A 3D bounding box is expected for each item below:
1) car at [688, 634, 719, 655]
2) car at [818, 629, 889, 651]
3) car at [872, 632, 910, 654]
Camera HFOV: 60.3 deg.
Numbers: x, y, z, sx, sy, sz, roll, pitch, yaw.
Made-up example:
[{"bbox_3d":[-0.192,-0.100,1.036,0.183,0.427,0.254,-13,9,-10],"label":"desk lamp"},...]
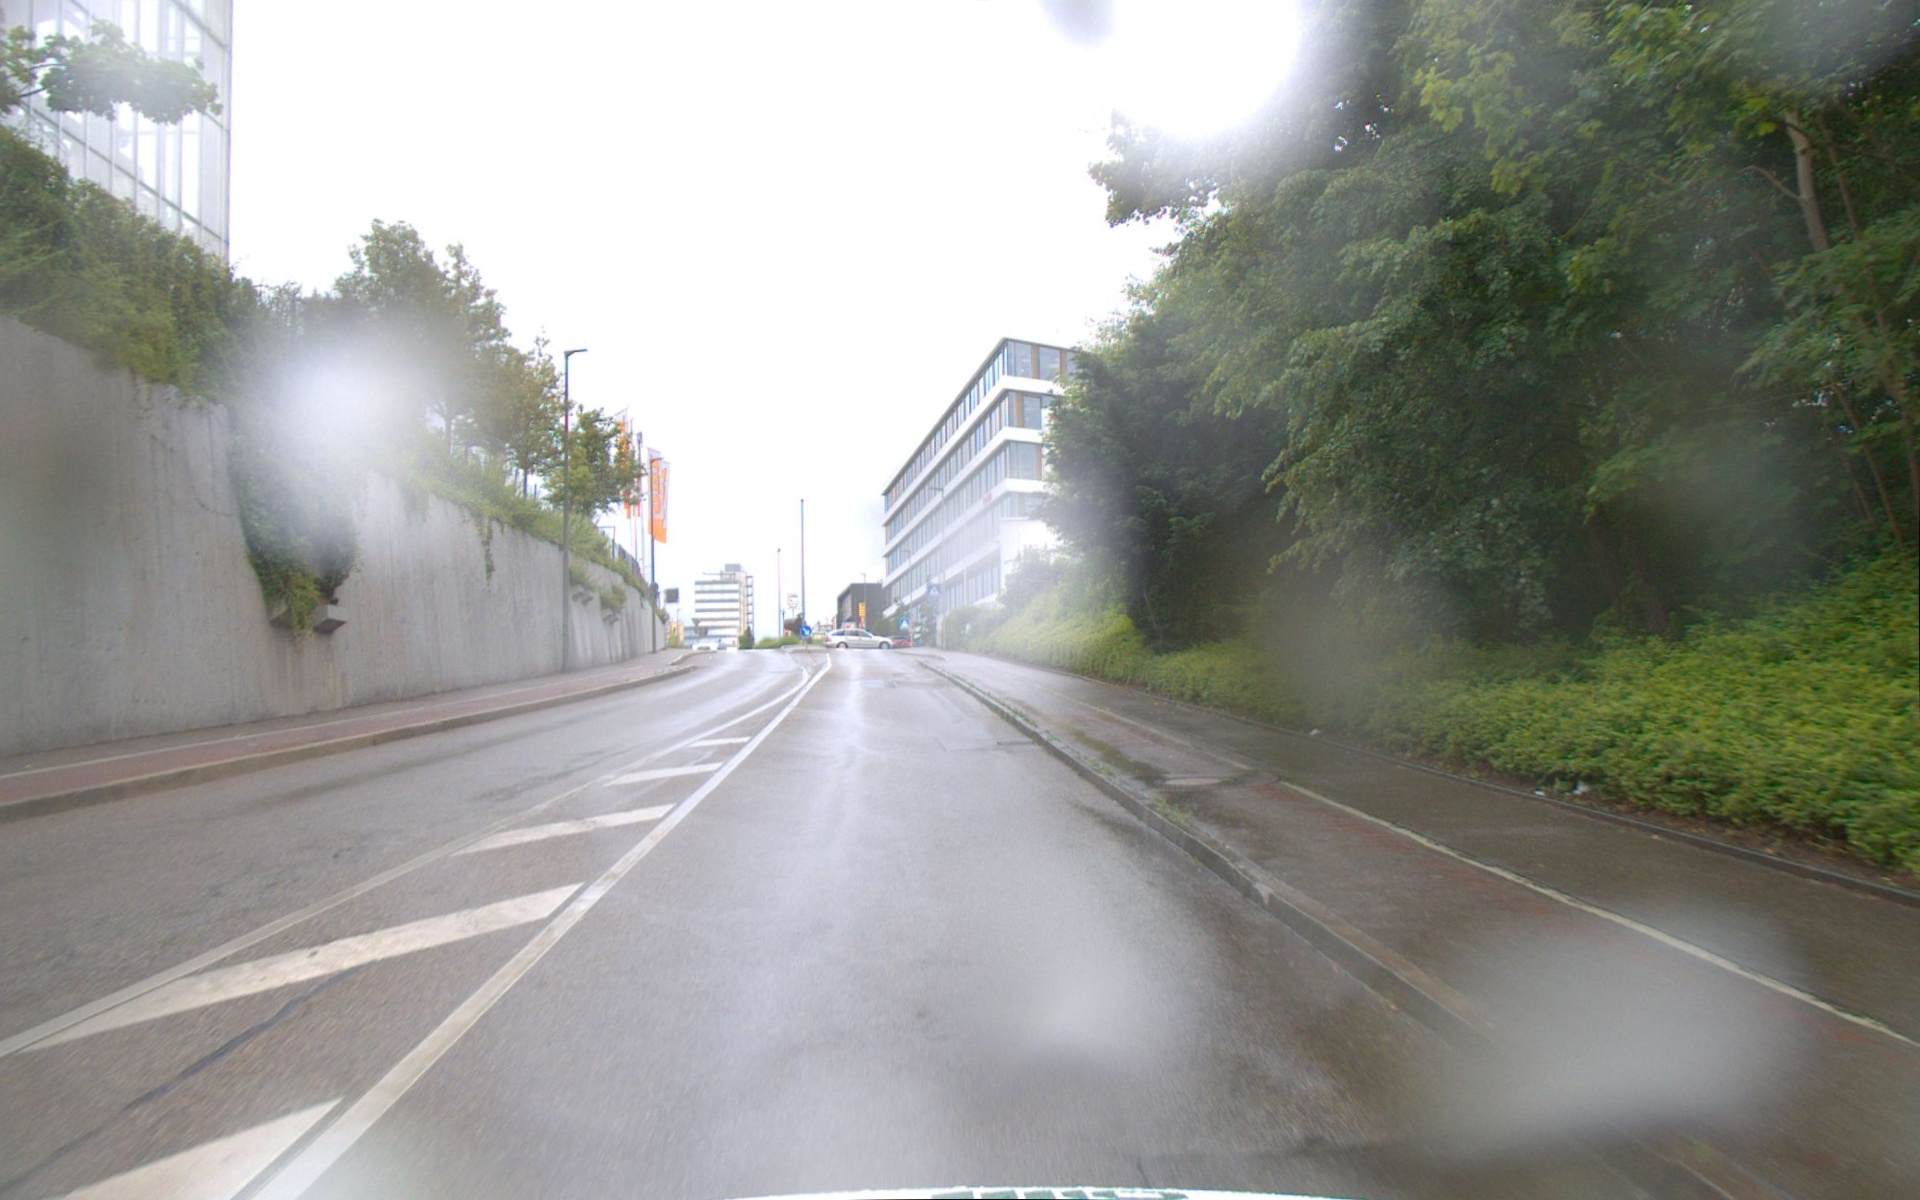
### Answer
[{"bbox_3d":[-17.774,3.085,114.699,1.963,1.451,4.773,1,-1,-7],"label":"car"},{"bbox_3d":[-6.636,2.489,102.881,4.162,1.386,1.640,1,-1,-13],"label":"car"},{"bbox_3d":[-4.844,3.006,115.655,1.765,1.434,4.198,-1,0,-16],"label":"car"}]
